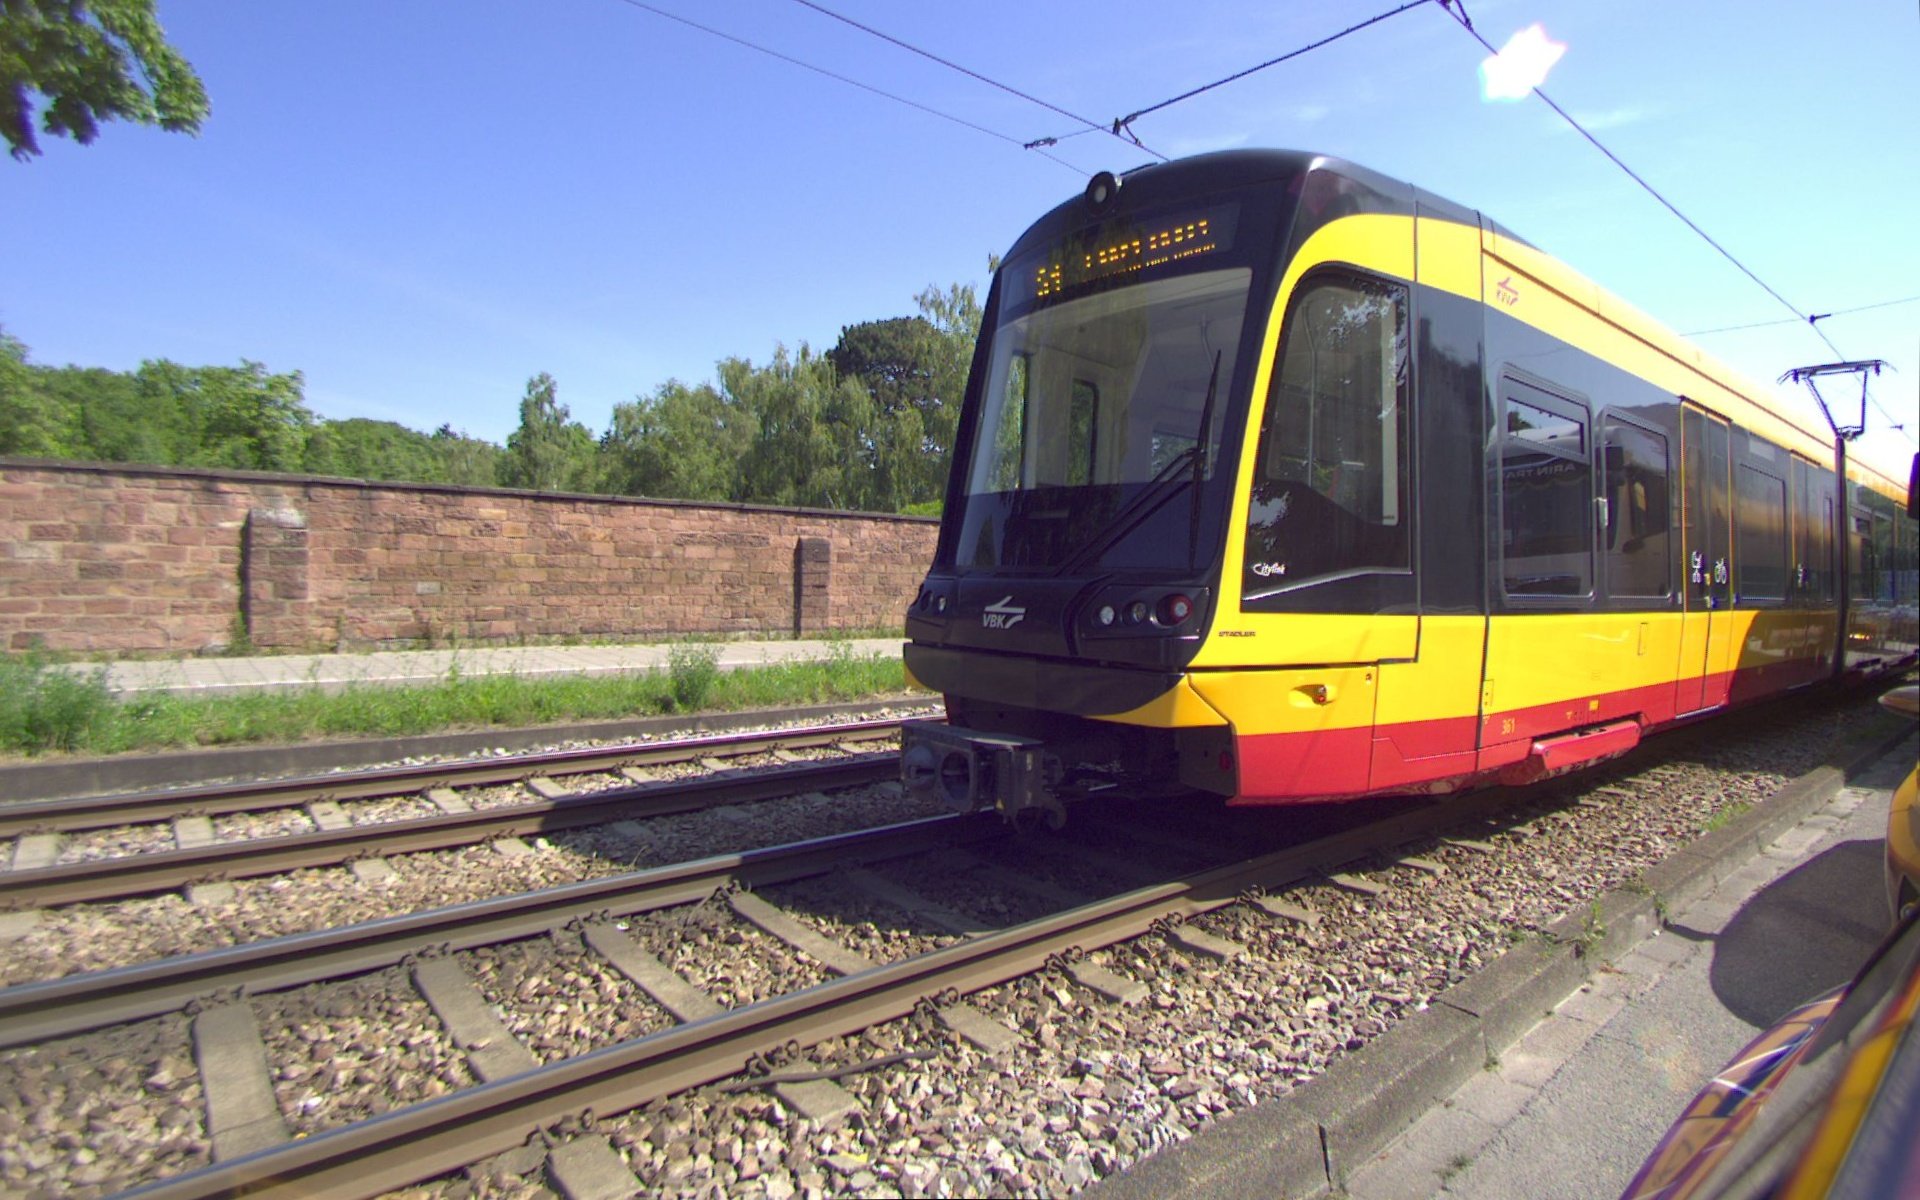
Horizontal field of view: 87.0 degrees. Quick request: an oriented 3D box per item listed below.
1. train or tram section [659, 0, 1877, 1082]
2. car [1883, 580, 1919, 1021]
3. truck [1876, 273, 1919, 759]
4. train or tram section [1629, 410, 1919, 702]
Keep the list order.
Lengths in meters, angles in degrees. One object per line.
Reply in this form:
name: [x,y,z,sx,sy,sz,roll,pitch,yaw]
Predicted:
train or tram section: [5.057,-0.532,8.901,15.038,3.698,2.674,-1,0,-41]
car: [5.183,0.672,4.086,3.960,1.465,1.718,0,0,-41]
truck: [14.349,-0.717,12.116,14.037,4.120,3.388,0,1,-41]
train or tram section: [17.681,-0.655,19.990,18.629,3.698,2.677,-1,0,-41]
